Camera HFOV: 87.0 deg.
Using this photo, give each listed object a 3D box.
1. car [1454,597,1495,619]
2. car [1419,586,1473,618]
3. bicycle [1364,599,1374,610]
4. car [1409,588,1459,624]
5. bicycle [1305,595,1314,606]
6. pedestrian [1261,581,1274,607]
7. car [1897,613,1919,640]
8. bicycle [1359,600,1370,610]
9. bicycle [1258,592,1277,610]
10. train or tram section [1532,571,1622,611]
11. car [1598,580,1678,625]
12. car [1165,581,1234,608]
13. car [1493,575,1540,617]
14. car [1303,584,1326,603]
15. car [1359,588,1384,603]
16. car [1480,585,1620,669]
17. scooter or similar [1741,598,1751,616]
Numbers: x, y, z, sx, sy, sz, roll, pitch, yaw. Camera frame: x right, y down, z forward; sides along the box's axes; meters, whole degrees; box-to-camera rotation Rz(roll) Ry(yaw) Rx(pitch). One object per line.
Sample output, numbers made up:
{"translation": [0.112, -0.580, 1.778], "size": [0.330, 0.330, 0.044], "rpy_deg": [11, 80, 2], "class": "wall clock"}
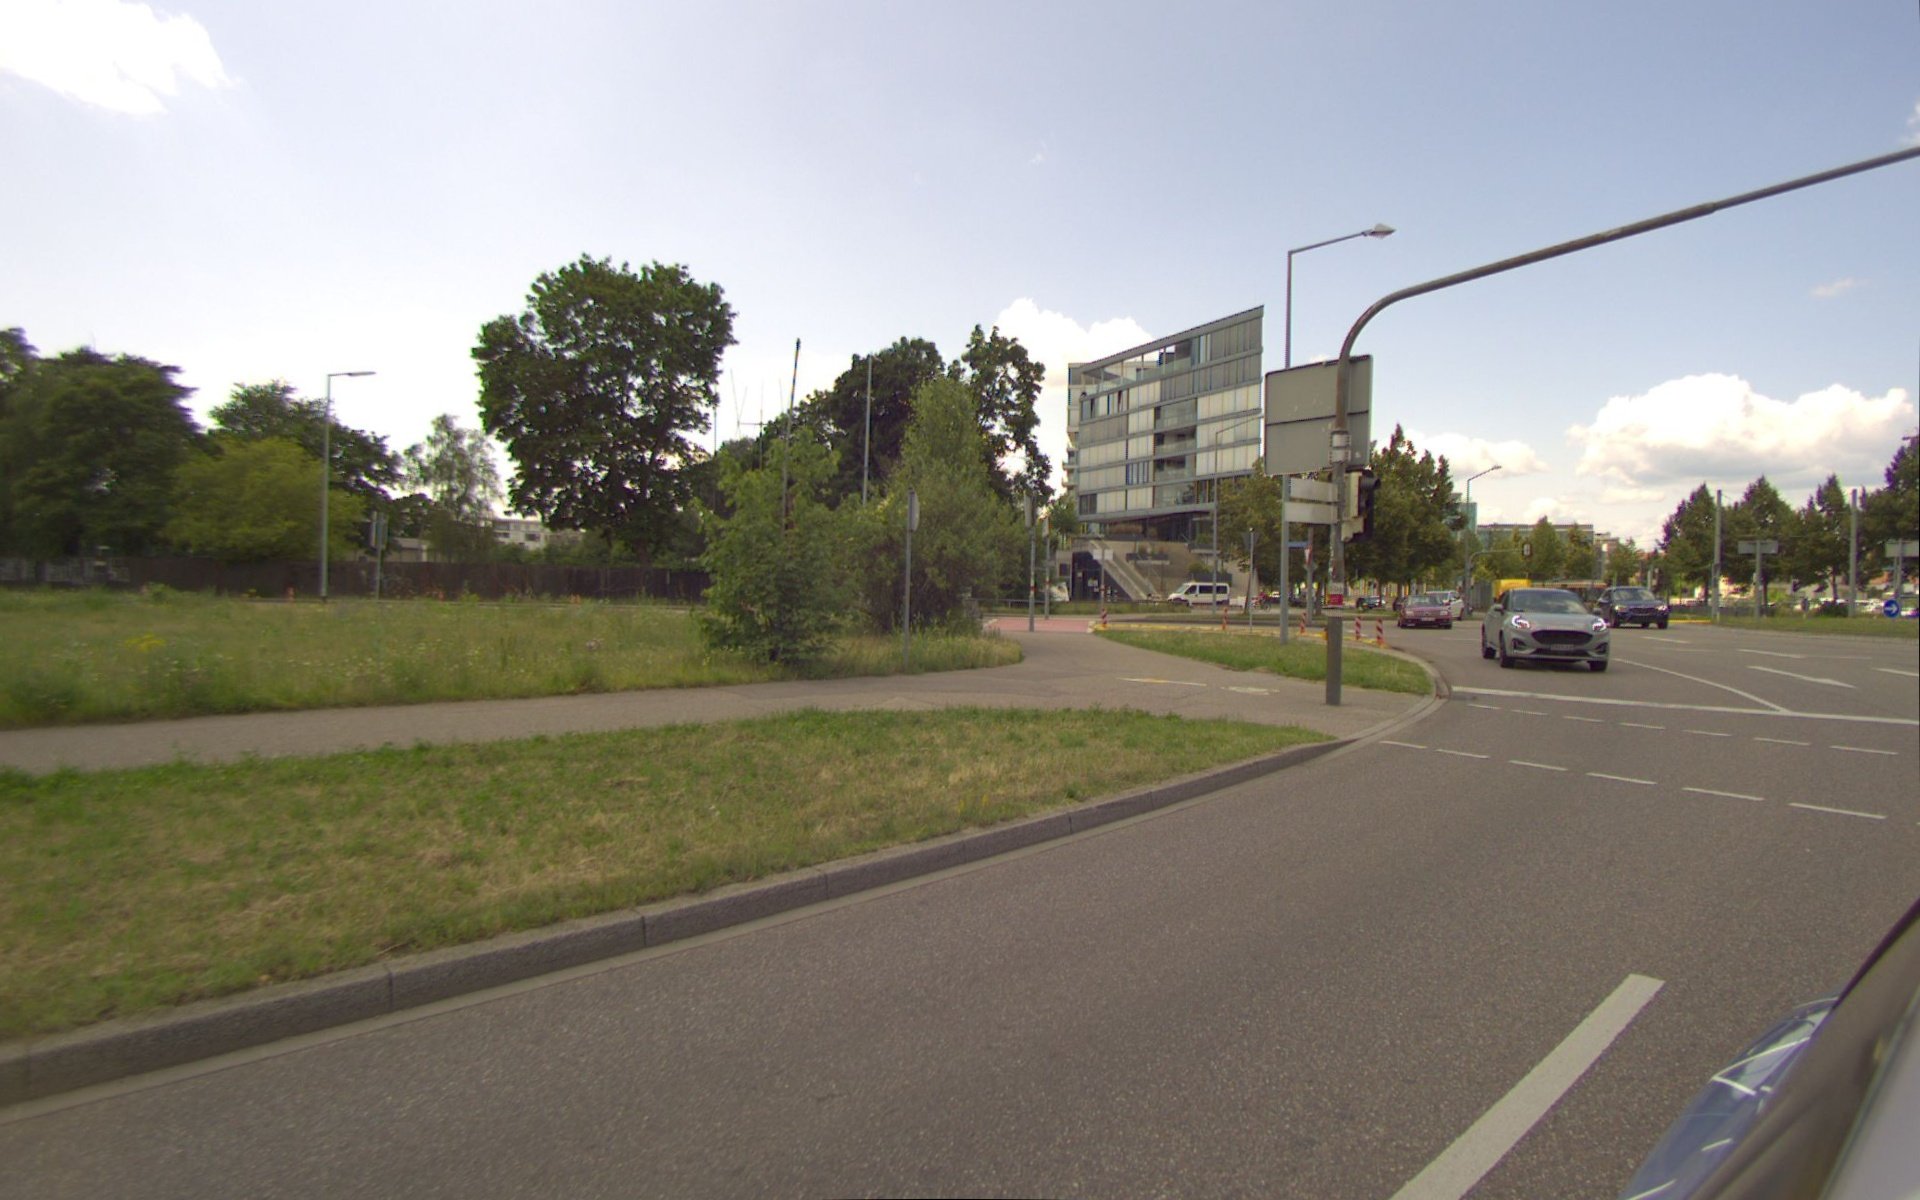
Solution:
{"translation": [44.100, 0.677, 86.845], "size": [1.968, 1.783, 4.282], "rpy_deg": [-1, 0, 11], "class": "car"}
{"translation": [25.733, 0.097, 53.541], "size": [1.667, 1.619, 4.069], "rpy_deg": [-1, 0, 39], "class": "car"}
{"translation": [33.663, 0.380, 83.251], "size": [0.352, 0.837, 1.472], "rpy_deg": [1, 0, 4], "class": "bicycle"}
{"translation": [18.150, 0.182, 38.864], "size": [1.657, 1.277, 4.059], "rpy_deg": [1, 1, 24], "class": "car"}
{"translation": [37.422, 0.051, 108.490], "size": [0.507, 1.102, 1.746], "rpy_deg": [1, 0, 6], "class": "bicycle"}
{"translation": [24.366, -0.499, 80.137], "size": [0.747, 2.039, 1.220], "rpy_deg": [-2, 0, 27], "class": "pedestrian"}
{"translation": [67.634, 1.866, 69.475], "size": [1.811, 1.813, 4.733], "rpy_deg": [1, 0, -9], "class": "car"}
{"translation": [33.437, 0.383, 83.652], "size": [0.352, 0.837, 1.472], "rpy_deg": [1, 0, 4], "class": "bicycle"}
{"translation": [24.335, 0.095, 80.107], "size": [0.806, 1.260, 2.386], "rpy_deg": [-4, 0, 31], "class": "bicycle"}
{"translation": [62.216, -0.895, 102.575], "size": [2.805, 3.787, 13.440], "rpy_deg": [1, 0, 9], "class": "train or tram section"}
{"translation": [26.416, 0.047, 39.563], "size": [1.755, 1.618, 4.098], "rpy_deg": [-1, 1, 22], "class": "car"}
{"translation": [19.644, -0.435, 83.047], "size": [5.045, 2.175, 2.152], "rpy_deg": [0, 0, -9], "class": "car"}
{"translation": [39.792, -0.335, 72.516], "size": [2.261, 2.889, 7.197], "rpy_deg": [1, 1, 24], "class": "car"}
{"translation": [44.927, -0.843, 128.447], "size": [2.131, 2.424, 6.251], "rpy_deg": [-1, 0, 14], "class": "car"}
{"translation": [49.221, -0.519, 121.033], "size": [1.968, 1.712, 4.282], "rpy_deg": [-1, 0, 11], "class": "car"}
{"translation": [11.732, 0.462, 20.377], "size": [1.654, 1.489, 4.067], "rpy_deg": [1, 1, 19], "class": "car"}
{"translation": [62.331, 0.533, 80.246], "size": [0.415, 1.318, 1.332], "rpy_deg": [1, 2, 30], "class": "scooter or similar"}
